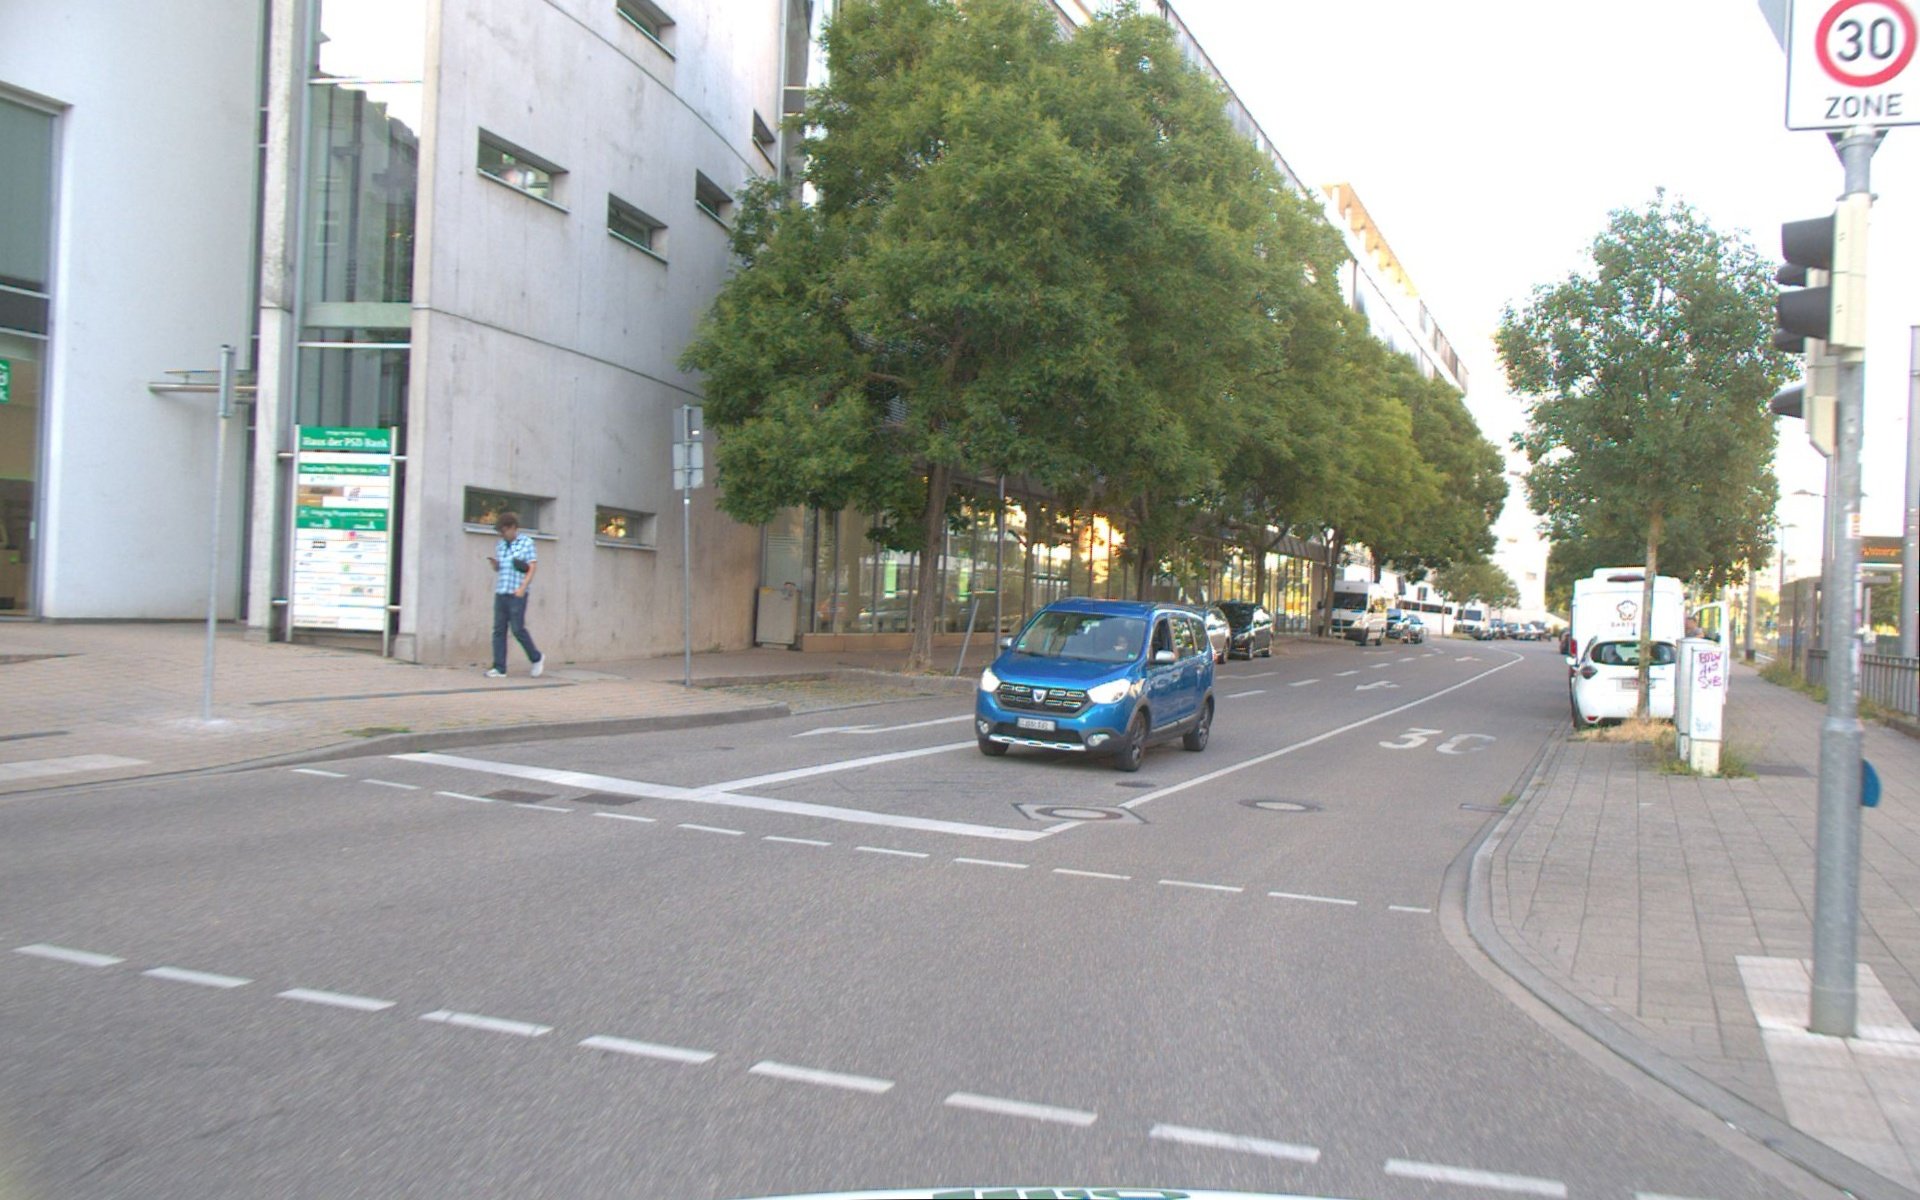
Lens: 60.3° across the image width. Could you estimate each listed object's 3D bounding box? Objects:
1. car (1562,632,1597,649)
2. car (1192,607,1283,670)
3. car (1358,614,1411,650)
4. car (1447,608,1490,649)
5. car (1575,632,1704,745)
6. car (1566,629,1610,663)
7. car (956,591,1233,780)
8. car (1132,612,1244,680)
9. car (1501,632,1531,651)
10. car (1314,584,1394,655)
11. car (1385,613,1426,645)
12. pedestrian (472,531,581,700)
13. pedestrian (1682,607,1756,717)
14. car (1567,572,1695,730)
[{"bbox_3d":[60.828,4.008,162.456,1.914,1.406,4.377,5,1,39],"label":"car"},{"bbox_3d":[8.103,1.094,47.956,1.558,1.595,4.470,6,1,22],"label":"car"},{"bbox_3d":[20.183,1.522,78.589,1.807,1.599,4.266,3,0,22],"label":"car"},{"bbox_3d":[36.175,2.005,117.522,1.920,2.662,6.889,5,1,24],"label":"car"},{"bbox_3d":[10.578,1.317,25.943,1.712,1.611,4.013,-1,-1,21],"label":"car"},{"bbox_3d":[29.435,2.133,77.629,1.750,1.477,4.516,3,0,19],"label":"car"},{"bbox_3d":[1.611,0.854,18.107,1.713,1.707,4.272,3,0,23],"label":"car"},{"bbox_3d":[5.943,1.148,42.668,1.669,1.486,4.626,6,1,22],"label":"car"},{"bbox_3d":[48.520,3.647,144.384,1.690,1.482,4.264,5,1,29],"label":"car"},{"bbox_3d":[16.398,0.817,68.498,2.058,2.710,6.949,3,0,22],"label":"car"},{"bbox_3d":[22.504,1.461,83.420,1.679,1.477,4.400,3,0,18],"label":"car"},{"bbox_3d":[-5.256,0.187,20.084,0.684,1.914,0.879,9,2,18],"label":"pedestrian"},{"bbox_3d":[14.459,1.174,31.519,0.963,2.049,0.802,3,0,-23],"label":"pedestrian"},{"bbox_3d":[12.560,0.929,31.158,2.008,2.704,5.434,-1,-1,21],"label":"car"}]
